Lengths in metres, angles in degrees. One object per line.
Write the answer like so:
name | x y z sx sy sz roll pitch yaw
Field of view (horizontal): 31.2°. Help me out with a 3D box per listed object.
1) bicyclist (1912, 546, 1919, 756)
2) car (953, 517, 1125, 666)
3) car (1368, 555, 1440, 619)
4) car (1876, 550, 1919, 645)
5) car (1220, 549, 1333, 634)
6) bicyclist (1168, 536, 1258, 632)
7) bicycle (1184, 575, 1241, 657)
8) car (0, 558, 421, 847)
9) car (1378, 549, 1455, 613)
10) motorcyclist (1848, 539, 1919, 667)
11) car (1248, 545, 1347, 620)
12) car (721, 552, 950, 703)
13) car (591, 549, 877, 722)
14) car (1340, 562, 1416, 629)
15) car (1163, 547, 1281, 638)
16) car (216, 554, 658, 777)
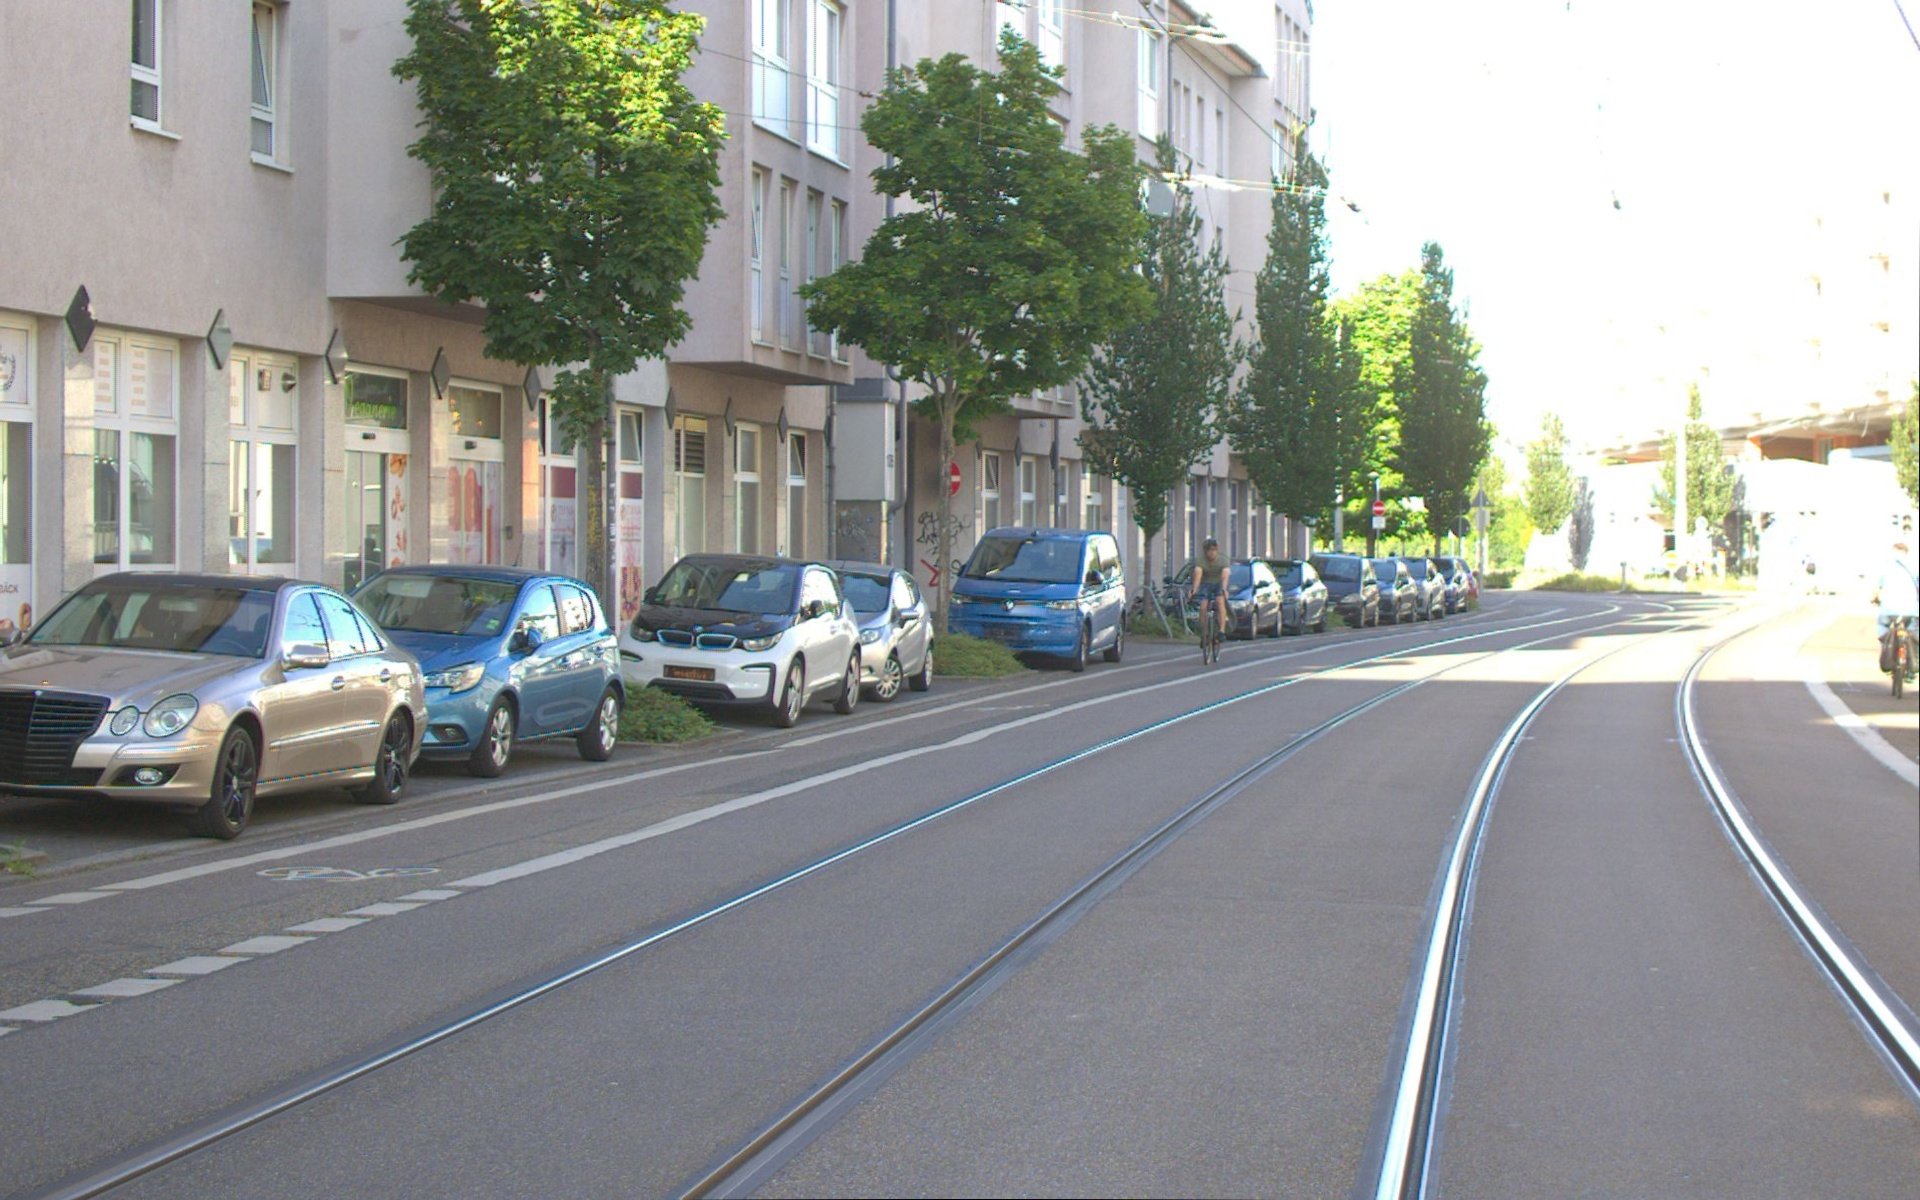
bicyclist | 7.015 0.355 23.739 0.728 1.457 1.020 0 1 9
car | 1.149 -0.155 47.991 1.666 1.980 4.341 0 1 11
car | 10.972 -0.340 84.931 1.592 1.535 3.189 0 1 10
car | 17.458 -0.067 61.297 1.845 1.640 3.963 0 1 10
car | 6.353 -0.204 68.673 1.845 1.640 4.547 0 1 10
bicyclist | 3.538 -0.233 48.007 1.183 1.326 1.095 0 1 8
bicycle | 3.527 0.211 47.930 0.622 1.098 1.960 -1 1 9
car | -4.649 0.513 20.165 1.745 1.438 3.999 2 1 9
car | 12.106 -0.524 90.969 1.845 1.640 3.696 0 1 10
motorcyclist | 10.289 0.026 38.132 0.728 1.401 1.020 0 1 9
car | 7.623 -0.417 77.269 1.845 1.640 4.547 0 1 10
car | -1.343 0.262 38.685 1.830 1.588 3.999 0 1 9
car | -2.157 0.297 33.972 1.830 1.588 3.998 0 1 12
car | 9.850 -0.126 80.849 1.592 1.535 3.189 0 1 10
car | 4.836 -0.166 63.021 1.666 1.612 3.998 0 1 11
car | -3.820 0.439 25.839 1.831 1.484 3.998 -2 1 14
